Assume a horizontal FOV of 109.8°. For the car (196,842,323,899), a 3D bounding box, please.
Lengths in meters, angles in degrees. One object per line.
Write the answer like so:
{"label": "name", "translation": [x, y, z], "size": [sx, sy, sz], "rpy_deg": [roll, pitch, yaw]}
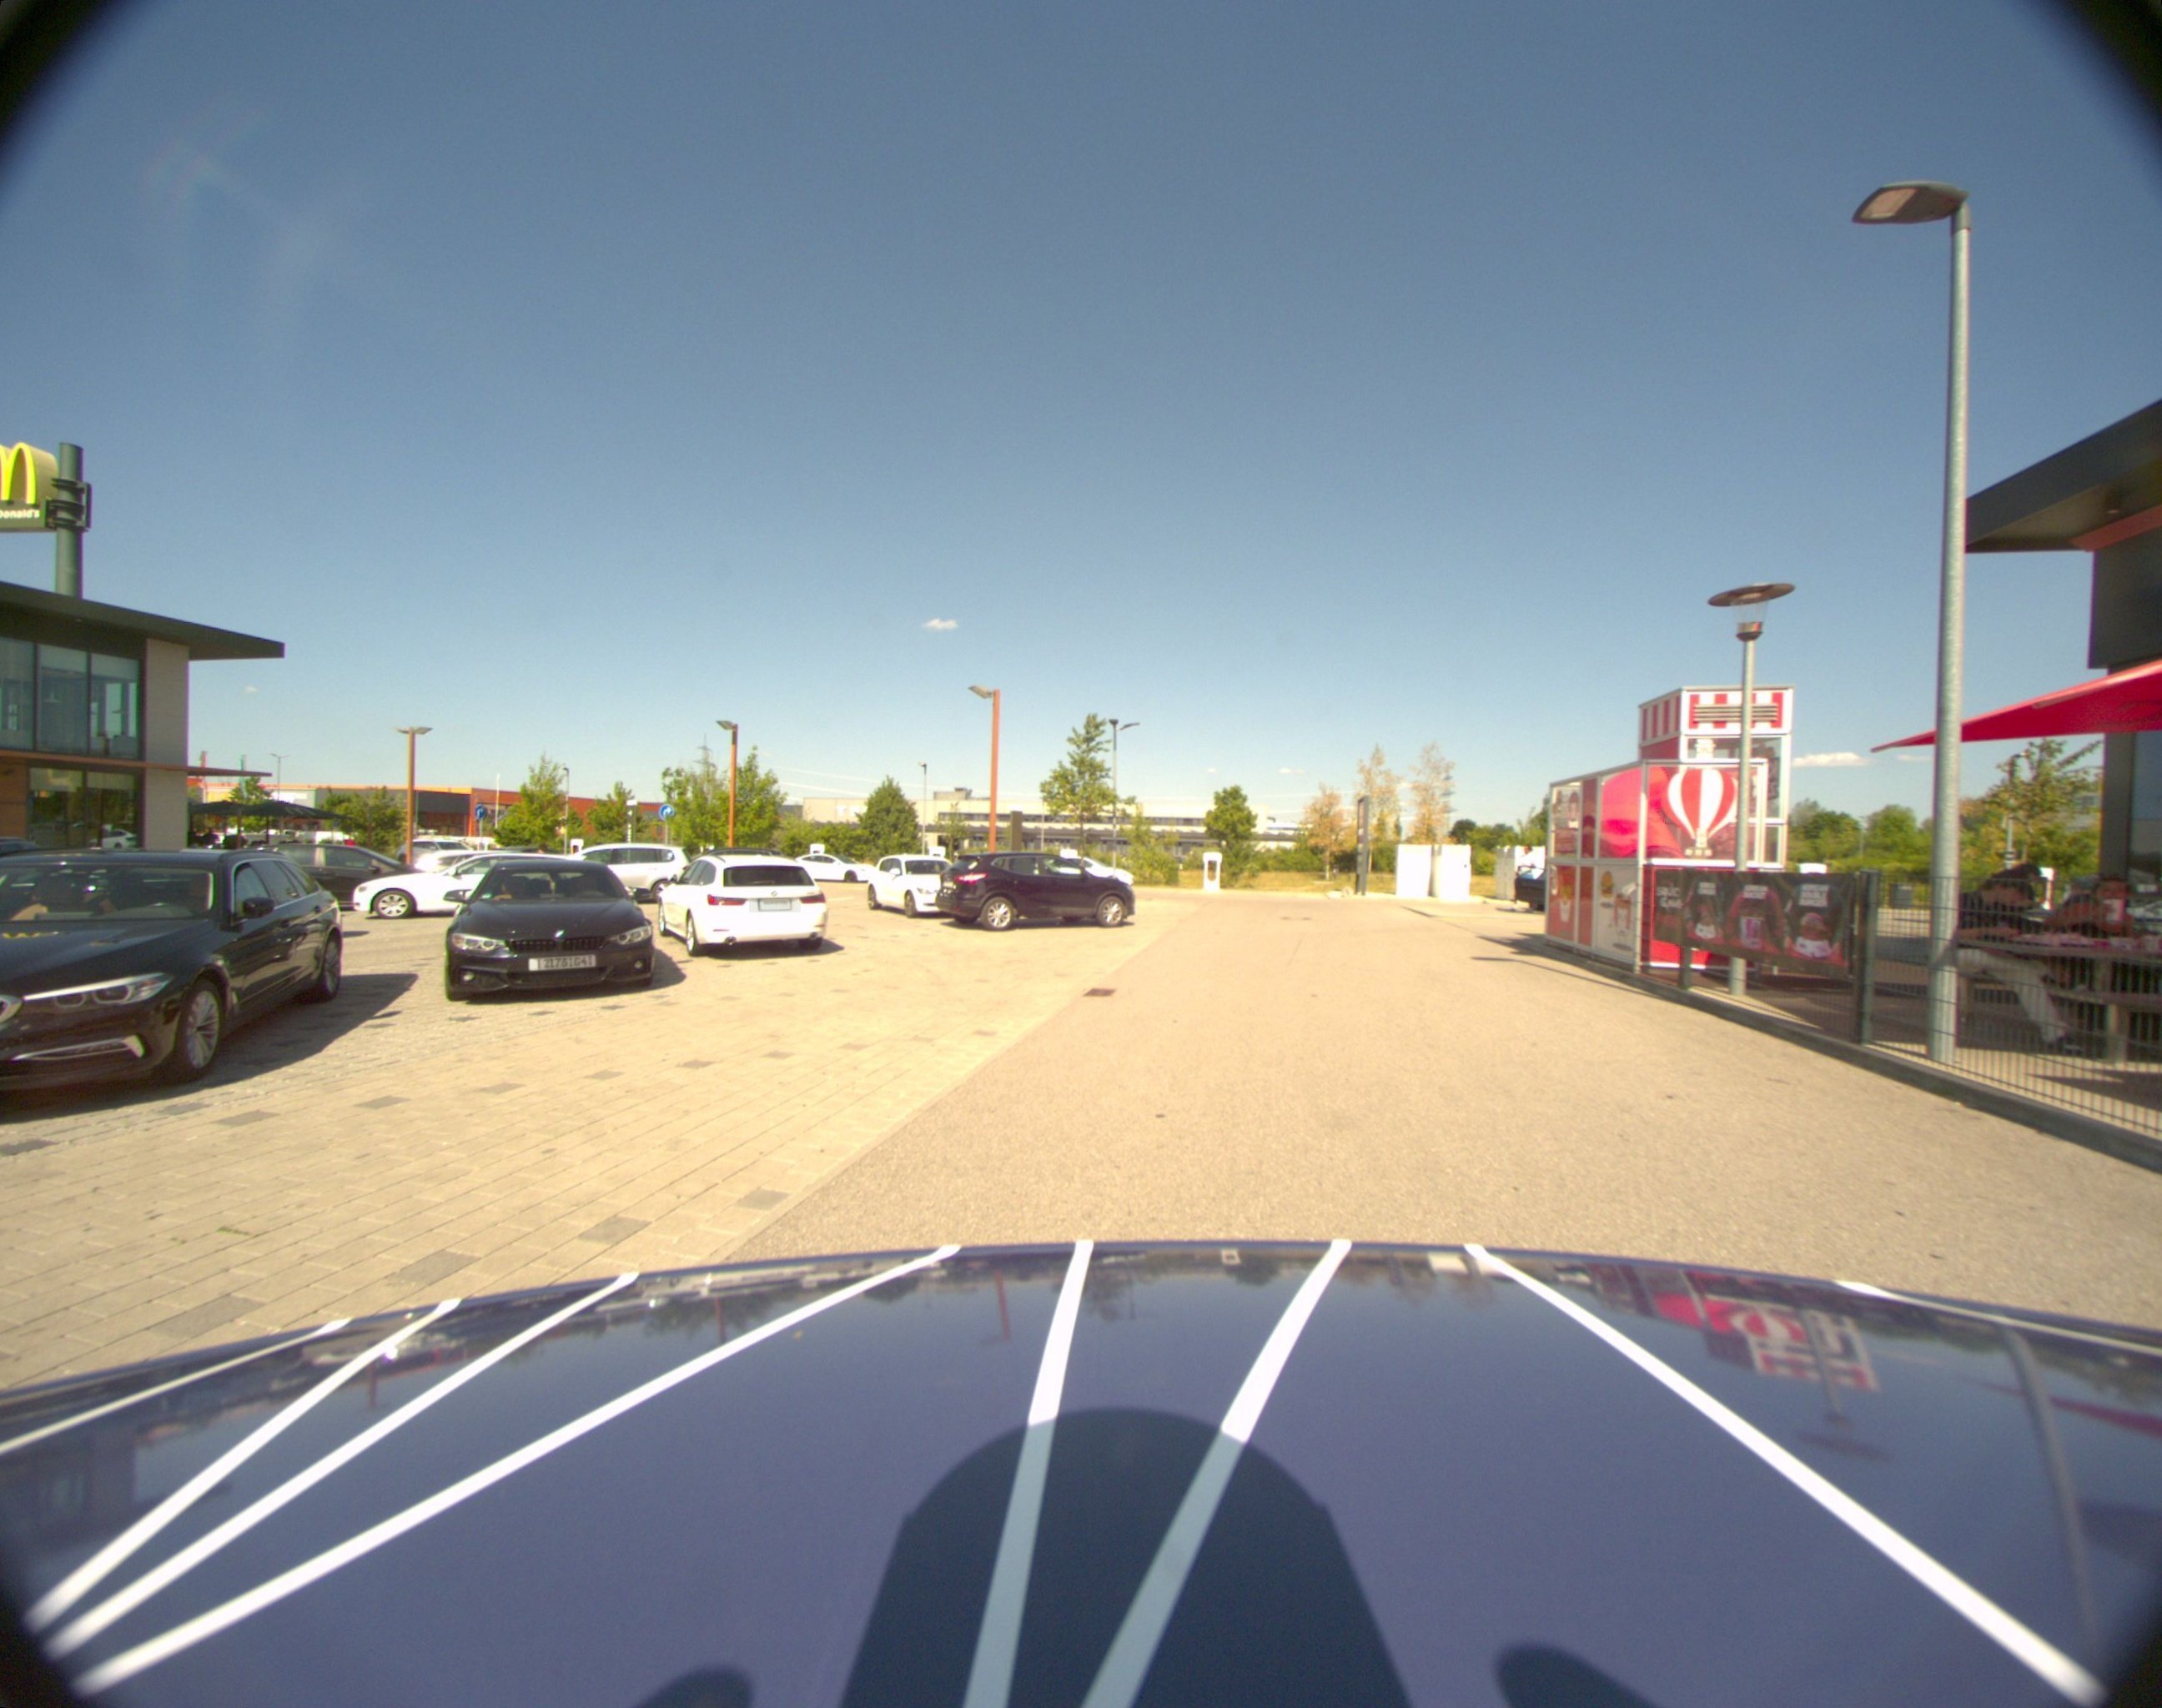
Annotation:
{"label": "car", "translation": [-25.547, 0.459, 23.787], "size": [1.720, 1.603, 4.025], "rpy_deg": [0, 0, -33]}

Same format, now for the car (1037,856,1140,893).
{"label": "car", "translation": [0.388, 0.937, 35.561], "size": [4.569, 1.584, 1.844], "rpy_deg": [1, 1, 10]}

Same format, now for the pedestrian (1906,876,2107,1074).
{"label": "pedestrian", "translation": [7.155, 0.881, 5.930], "size": [0.664, 1.379, 0.809], "rpy_deg": [1, 1, 22]}

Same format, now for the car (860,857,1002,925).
{"label": "car", "translation": [-3.858, 0.822, 18.953], "size": [1.979, 1.451, 4.196], "rpy_deg": [0, 0, -34]}

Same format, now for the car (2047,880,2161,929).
{"label": "car", "translation": [37.973, 1.782, 26.760], "size": [4.424, 1.518, 2.220], "rpy_deg": [1, 2, 13]}

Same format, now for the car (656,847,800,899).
{"label": "car", "translation": [-11.411, 0.570, 24.616], "size": [4.007, 1.543, 1.750], "rpy_deg": [0, 1, -34]}

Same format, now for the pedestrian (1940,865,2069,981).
{"label": "pedestrian", "translation": [12.071, 0.879, 9.964], "size": [0.797, 1.435, 0.694], "rpy_deg": [1, 1, 12]}

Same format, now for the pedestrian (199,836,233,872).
{"label": "pedestrian", "translation": [-38.168, 0.014, 33.529], "size": [0.702, 1.550, 0.721], "rpy_deg": [0, 1, -15]}

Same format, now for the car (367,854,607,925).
{"label": "car", "translation": [-13.254, 0.741, 17.329], "size": [4.122, 1.405, 1.808], "rpy_deg": [0, 1, -31]}

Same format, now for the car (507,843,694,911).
{"label": "car", "translation": [-12.902, 0.572, 20.652], "size": [4.122, 1.665, 1.808], "rpy_deg": [0, 1, -31]}

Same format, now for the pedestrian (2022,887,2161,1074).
{"label": "pedestrian", "translation": [7.841, 0.923, 5.729], "size": [0.664, 1.297, 0.688], "rpy_deg": [1, 1, 22]}

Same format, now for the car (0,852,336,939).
{"label": "car", "translation": [-17.968, 0.729, 14.774], "size": [4.653, 1.478, 1.891], "rpy_deg": [0, 1, -31]}

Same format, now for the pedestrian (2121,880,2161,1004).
{"label": "pedestrian", "translation": [11.885, 0.951, 7.939], "size": [0.754, 1.305, 0.946], "rpy_deg": [1, 1, 15]}

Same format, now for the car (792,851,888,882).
{"label": "car", "translation": [-12.287, 0.614, 38.869], "size": [4.324, 1.470, 1.844], "rpy_deg": [1, 1, 14]}

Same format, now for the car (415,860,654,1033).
{"label": "car", "translation": [-6.376, 0.826, 8.961], "size": [1.840, 1.451, 4.358], "rpy_deg": [0, 0, -36]}

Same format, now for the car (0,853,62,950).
{"label": "car", "translation": [-19.078, 0.734, 11.079], "size": [4.653, 1.478, 1.891], "rpy_deg": [0, 1, -31]}

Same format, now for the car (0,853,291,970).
{"label": "car", "translation": [-14.437, 0.755, 10.680], "size": [4.287, 1.478, 1.808], "rpy_deg": [0, 1, -31]}

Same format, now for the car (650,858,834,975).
{"label": "car", "translation": [-5.612, 0.820, 12.200], "size": [1.840, 1.451, 4.572], "rpy_deg": [0, 0, -35]}

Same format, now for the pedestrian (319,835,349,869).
{"label": "pedestrian", "translation": [-34.301, -0.089, 34.880], "size": [0.721, 1.550, 0.702], "rpy_deg": [1, 1, 14]}

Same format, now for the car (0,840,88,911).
{"label": "car", "translation": [-26.332, 0.476, 18.255], "size": [1.720, 1.603, 4.025], "rpy_deg": [0, 0, -33]}

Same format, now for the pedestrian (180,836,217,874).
{"label": "pedestrian", "translation": [-36.487, 0.041, 31.415], "size": [0.702, 1.550, 0.721], "rpy_deg": [0, 1, -15]}

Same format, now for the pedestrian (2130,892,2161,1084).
{"label": "pedestrian", "translation": [7.631, 0.925, 4.933], "size": [0.664, 1.297, 0.713], "rpy_deg": [1, 1, 22]}

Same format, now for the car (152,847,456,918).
{"label": "car", "translation": [-17.875, 0.604, 17.867], "size": [4.653, 1.478, 1.891], "rpy_deg": [0, 1, -31]}

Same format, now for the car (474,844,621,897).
{"label": "car", "translation": [-18.439, 0.548, 26.478], "size": [3.964, 1.765, 1.650], "rpy_deg": [0, 1, -26]}

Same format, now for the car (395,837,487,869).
{"label": "car", "translation": [-32.669, -0.045, 38.811], "size": [3.875, 1.552, 1.766], "rpy_deg": [1, 1, 17]}

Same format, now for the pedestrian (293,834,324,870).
{"label": "pedestrian", "translation": [-34.231, -0.082, 33.674], "size": [0.721, 1.550, 0.702], "rpy_deg": [1, 1, 14]}

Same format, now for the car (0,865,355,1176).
{"label": "car", "translation": [-7.249, 0.868, 5.535], "size": [1.979, 1.478, 4.770], "rpy_deg": [0, 0, -33]}

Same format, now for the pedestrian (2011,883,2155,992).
{"label": "pedestrian", "translation": [11.923, 0.966, 9.076], "size": [0.753, 1.193, 0.695], "rpy_deg": [1, 1, 14]}

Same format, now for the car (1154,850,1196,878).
{"label": "car", "translation": [6.242, 0.622, 50.043], "size": [1.915, 1.739, 4.263], "rpy_deg": [1, 0, 19]}

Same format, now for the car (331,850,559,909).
{"label": "car", "translation": [-17.542, 0.651, 21.311], "size": [4.653, 1.478, 1.891], "rpy_deg": [0, 1, -31]}

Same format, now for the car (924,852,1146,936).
{"label": "car", "translation": [-0.945, 0.792, 16.168], "size": [4.311, 1.581, 1.852], "rpy_deg": [1, 0, -30]}
